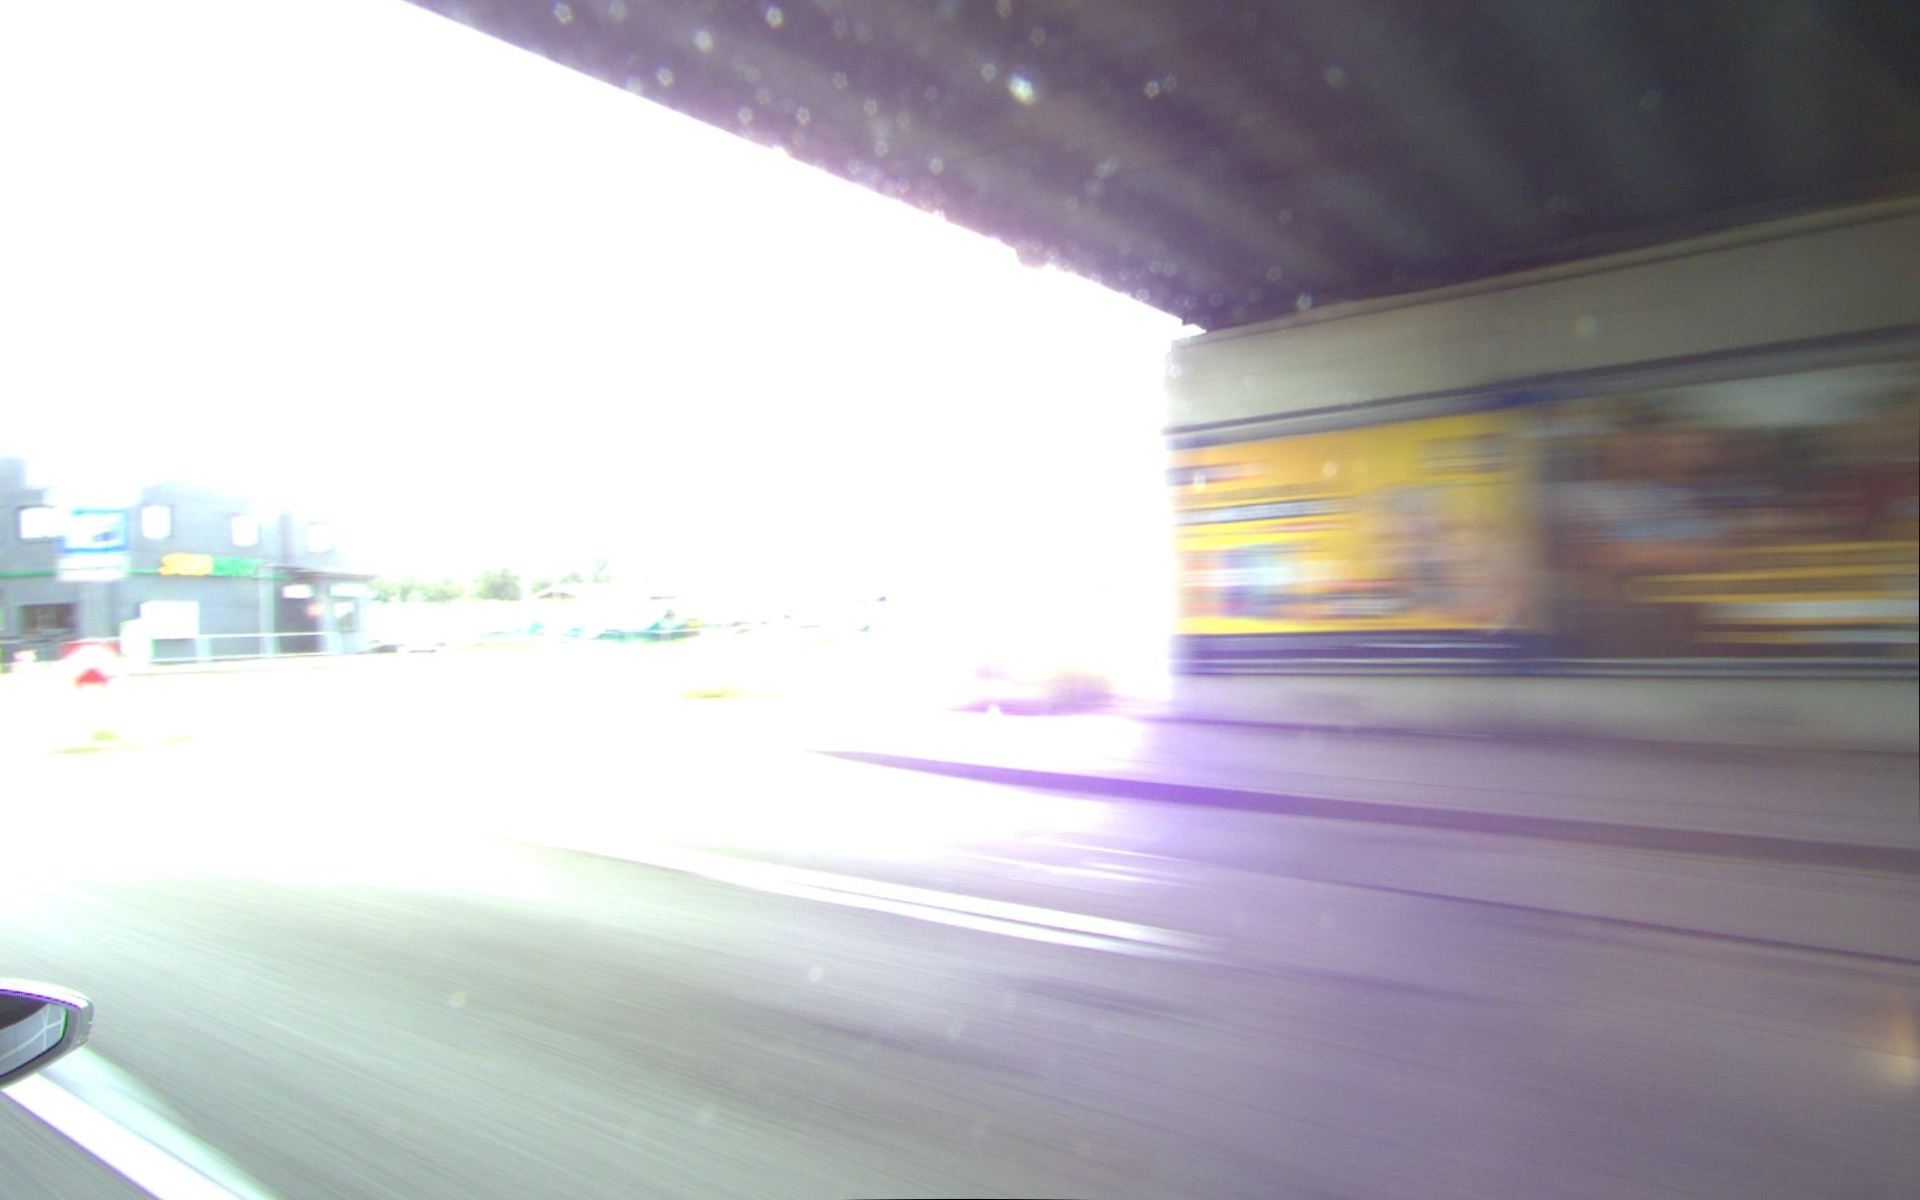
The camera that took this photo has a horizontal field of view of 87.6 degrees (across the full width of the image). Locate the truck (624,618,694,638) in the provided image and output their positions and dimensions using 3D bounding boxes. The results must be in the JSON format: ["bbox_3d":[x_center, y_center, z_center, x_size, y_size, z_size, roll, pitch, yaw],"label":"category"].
[{"bbox_3d":[-19.540,1.838,65.103,1.852,1.235,4.321,-3,-3,29],"label":"truck"}]

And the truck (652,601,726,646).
[{"bbox_3d":[-17.412,1.550,64.507,2.087,2.748,4.319,-2,-3,30],"label":"truck"}]

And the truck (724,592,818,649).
[{"bbox_3d":[-11.768,1.386,62.788,2.670,3.296,5.913,-2,-3,27],"label":"truck"}]

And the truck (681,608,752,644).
[{"bbox_3d":[-15.281,1.670,63.112,1.948,2.110,4.323,-2,-3,28],"label":"truck"}]

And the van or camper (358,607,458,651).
[{"bbox_3d":[-29.938,1.658,54.619,2.085,2.199,6.252,-1,-3,-1],"label":"van or camper"}]
